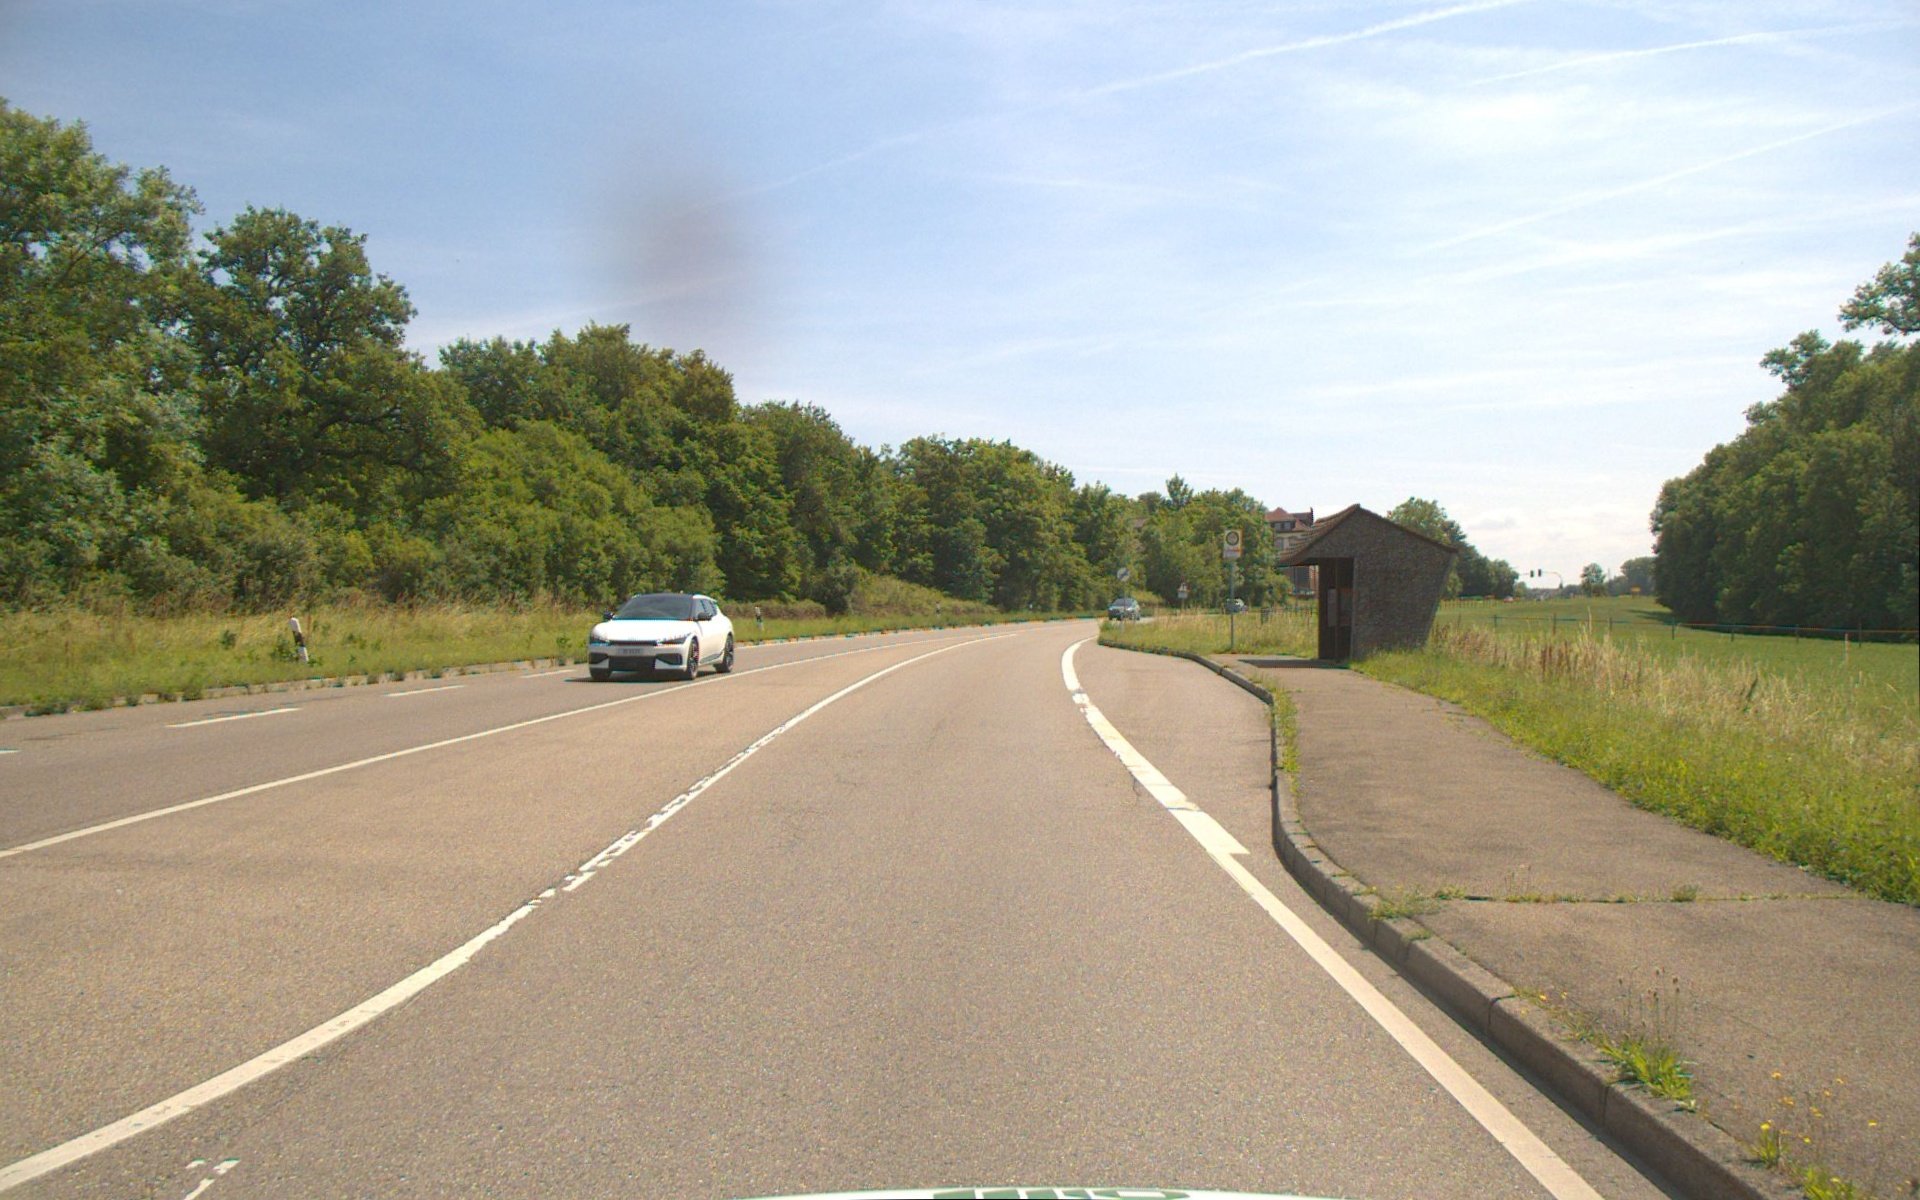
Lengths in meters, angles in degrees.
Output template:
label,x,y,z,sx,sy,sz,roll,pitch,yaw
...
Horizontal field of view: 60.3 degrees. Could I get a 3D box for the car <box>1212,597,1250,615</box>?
label,x,y,z,sx,sy,sz,roll,pitch,yaw
car,24.534,0.569,149.714,1.957,1.601,3.990,0,0,32

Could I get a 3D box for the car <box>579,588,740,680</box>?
label,x,y,z,sx,sy,sz,roll,pitch,yaw
car,-5.562,0.601,31.222,1.896,1.575,4.629,1,0,4

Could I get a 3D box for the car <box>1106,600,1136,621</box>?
label,x,y,z,sx,sy,sz,roll,pitch,yaw
car,11.808,0.766,120.993,1.717,1.561,4.232,0,0,12
